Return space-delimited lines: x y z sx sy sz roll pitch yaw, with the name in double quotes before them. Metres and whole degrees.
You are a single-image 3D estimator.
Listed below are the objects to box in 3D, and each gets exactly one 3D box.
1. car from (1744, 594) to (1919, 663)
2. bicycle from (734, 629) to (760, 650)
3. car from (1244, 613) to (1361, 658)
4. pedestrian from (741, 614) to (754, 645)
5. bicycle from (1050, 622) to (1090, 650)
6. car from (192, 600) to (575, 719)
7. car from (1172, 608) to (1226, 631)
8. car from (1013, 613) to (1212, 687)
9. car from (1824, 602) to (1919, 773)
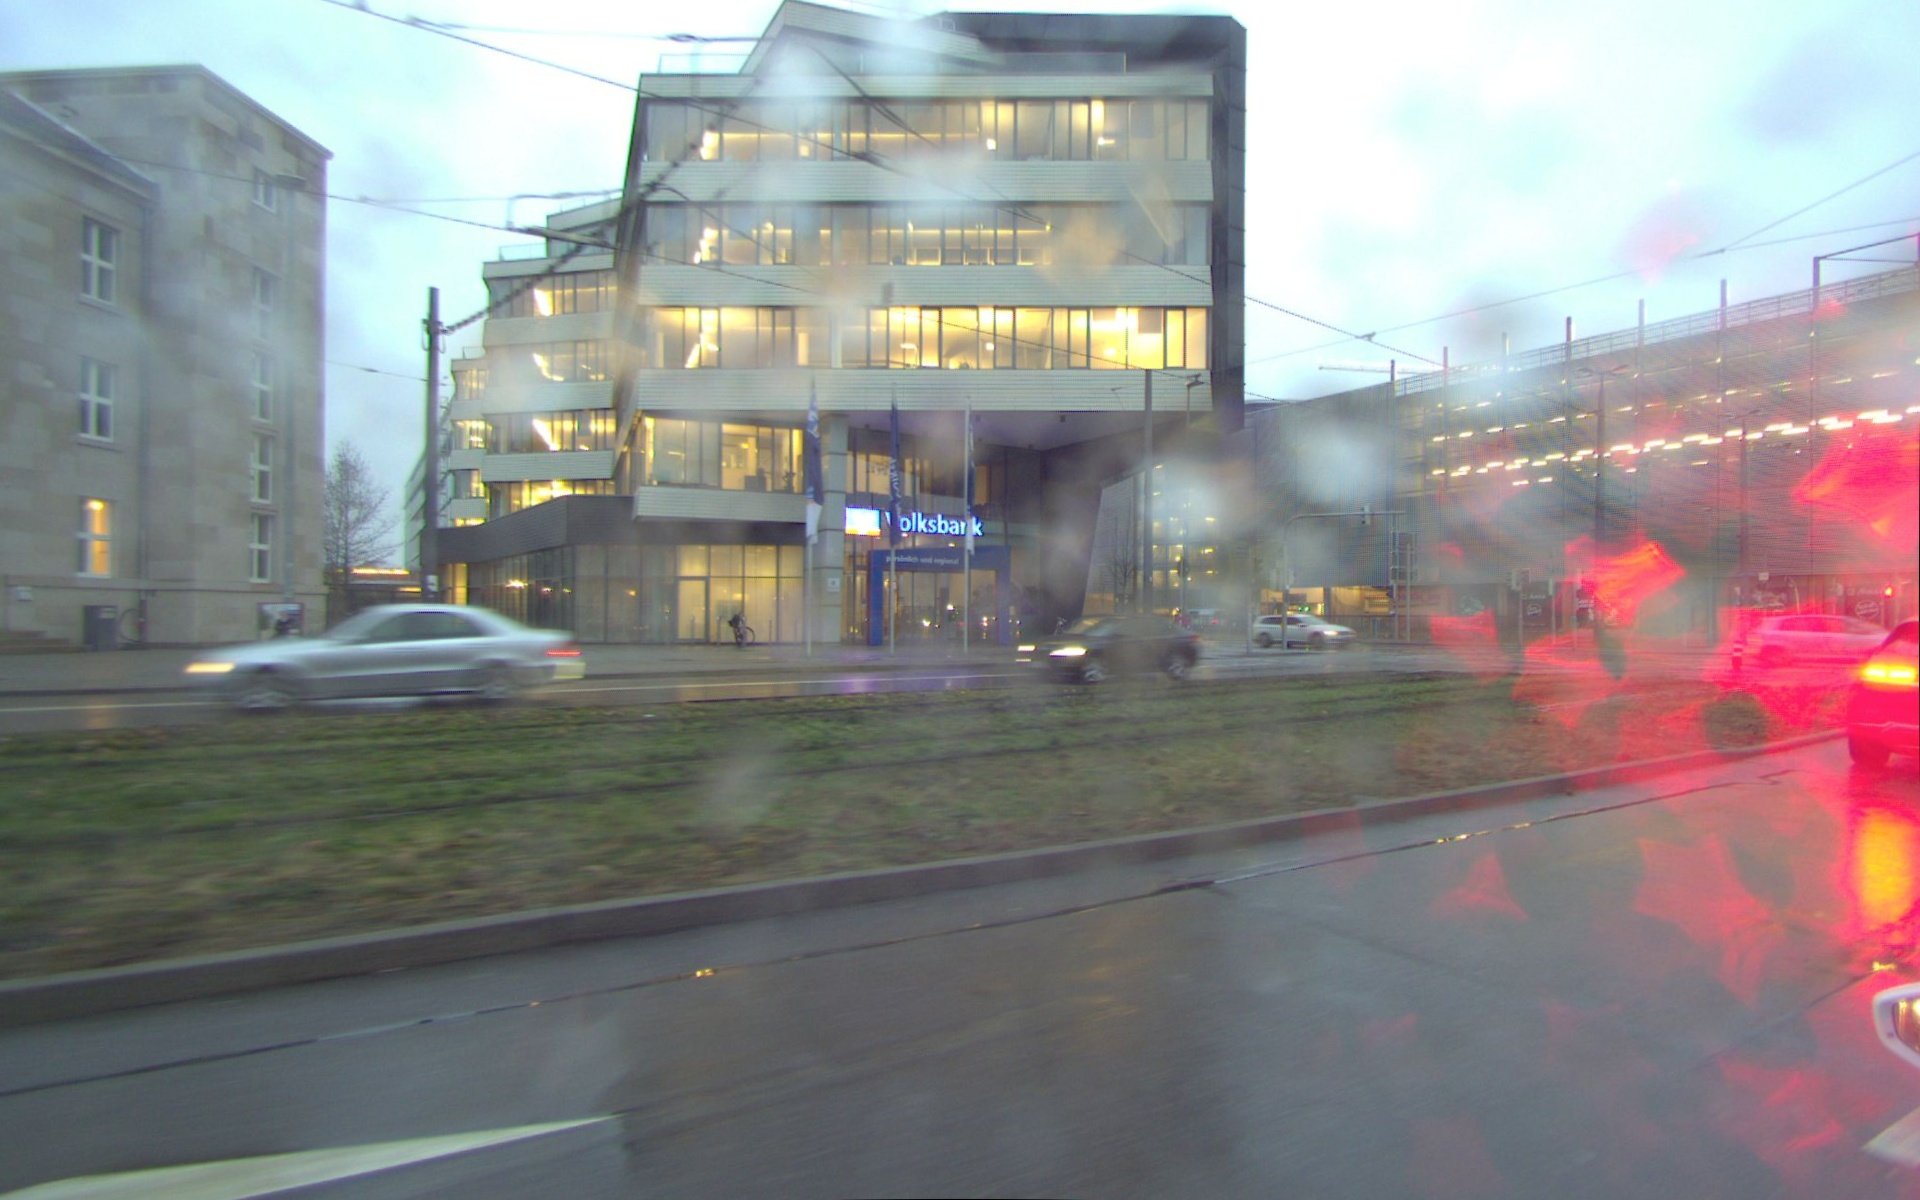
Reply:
"car" 25.736 0.836 29.503 1.985 1.899 3.952 0 -2 -41
"bicycle" -7.587 1.405 35.830 0.896 0.724 0.483 0 -1 -10
"car" 14.941 1.539 44.011 1.817 1.875 4.630 2 -2 -40
"pedestrian" -7.543 1.037 35.712 0.380 1.103 0.325 0 -1 4
"bicycle" 4.492 1.467 41.036 1.588 1.105 0.553 1 -1 -23
"car" -8.252 0.772 14.718 4.605 1.454 1.810 1 1 -33
"car" 23.047 1.860 96.985 1.872 1.988 5.043 0 2 -36
"car" 3.442 1.037 22.252 4.478 1.419 1.645 0 2 -35
"car" 10.715 0.857 10.425 3.960 1.595 1.741 1 -1 -35
